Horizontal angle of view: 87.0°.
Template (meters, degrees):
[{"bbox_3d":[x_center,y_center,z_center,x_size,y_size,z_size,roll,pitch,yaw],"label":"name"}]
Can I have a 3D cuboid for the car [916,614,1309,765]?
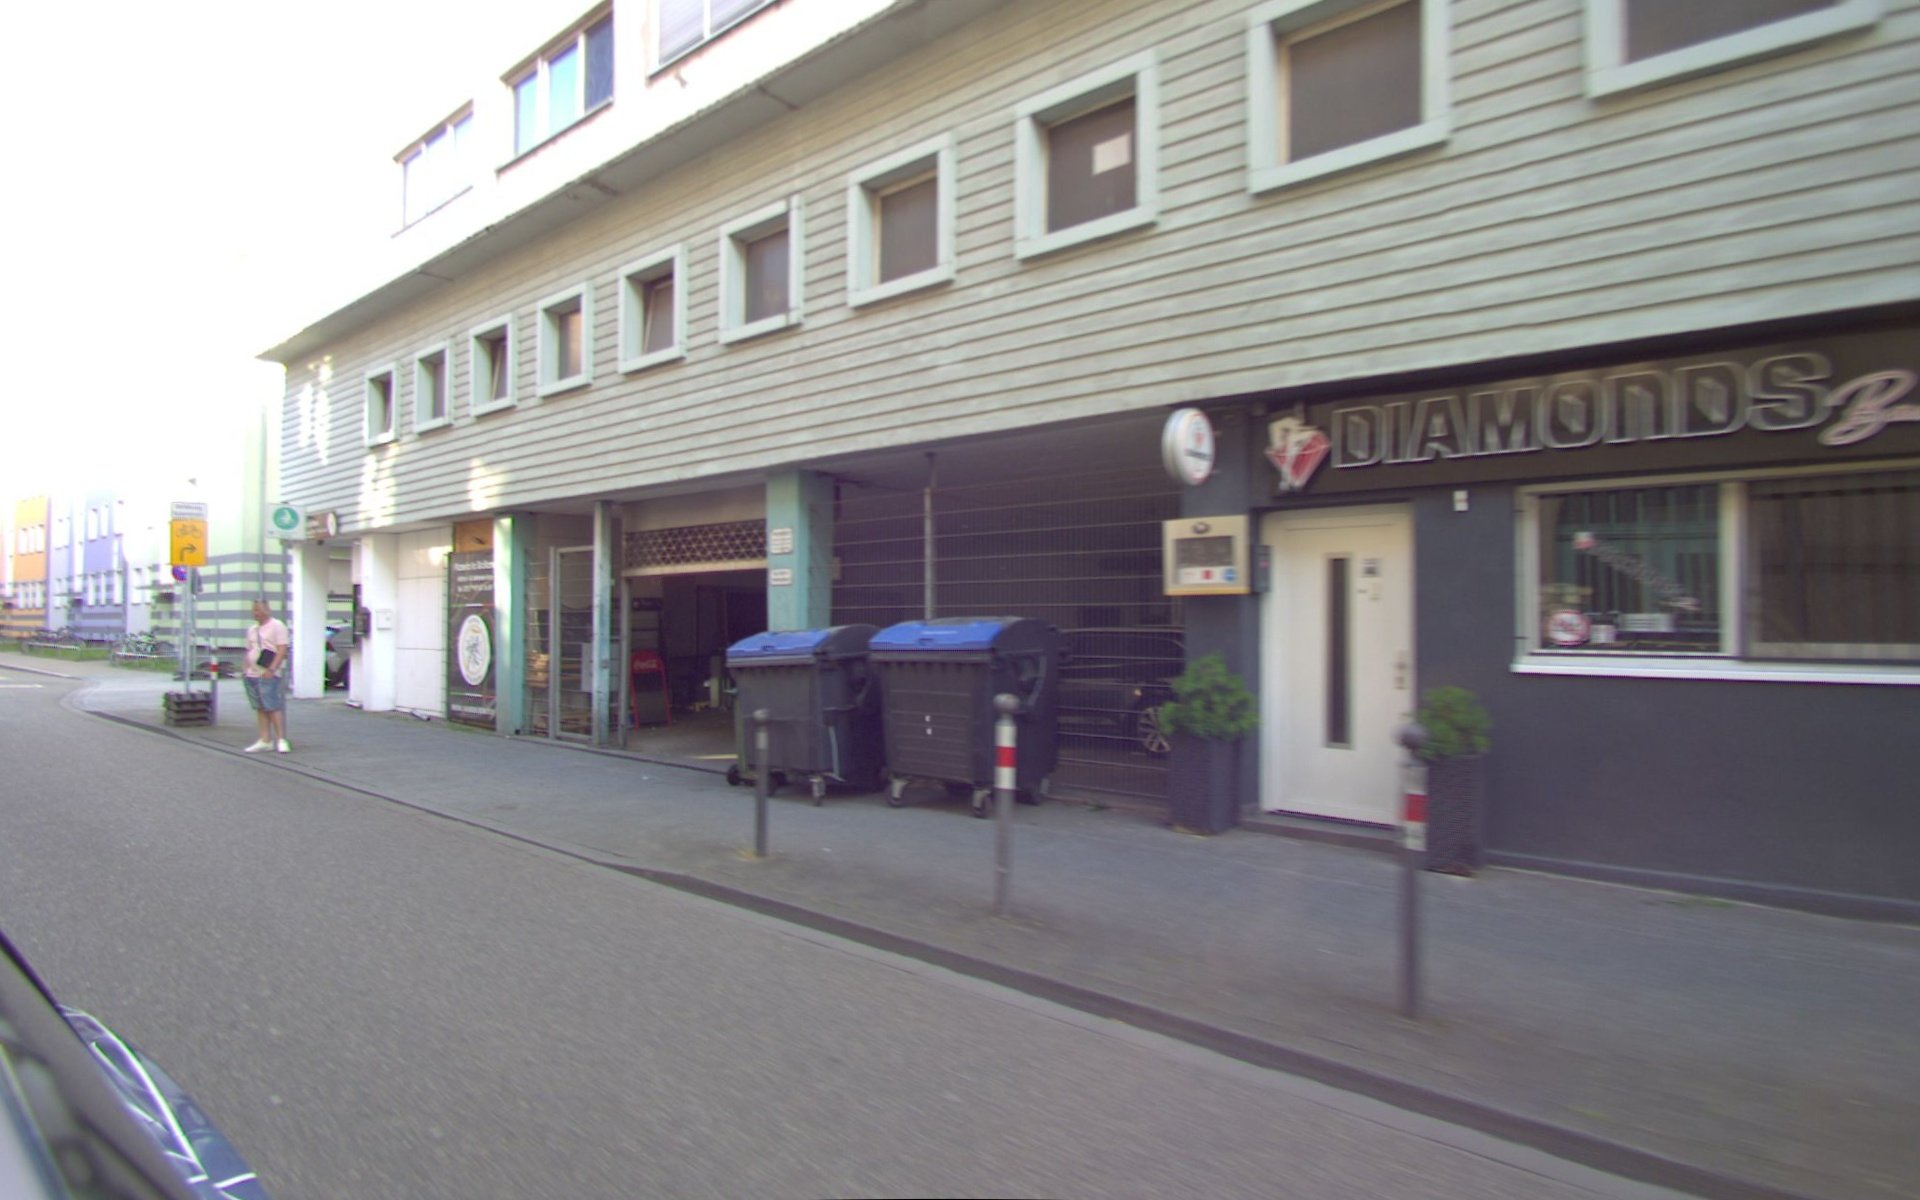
[{"bbox_3d":[1.729,0.970,12.535,4.598,1.547,1.744,-1,-2,40],"label":"car"}]

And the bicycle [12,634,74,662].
[{"bbox_3d":[-36.996,1.929,40.855,0.388,0.953,1.781,-1,2,39],"label":"bicycle"}]

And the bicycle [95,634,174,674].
[{"bbox_3d":[-26.192,1.692,32.120,0.748,1.109,1.798,-1,1,38],"label":"bicycle"}]

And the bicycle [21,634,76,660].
[{"bbox_3d":[-38.490,1.988,42.750,0.388,0.953,1.637,-1,1,39],"label":"bicycle"}]

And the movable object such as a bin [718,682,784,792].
[{"bbox_3d":[-1.916,1.239,9.282,0.467,0.949,0.389,-2,-3,40],"label":"movable object such as a bin"}]

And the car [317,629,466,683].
[{"bbox_3d":[-16.182,1.548,28.896,1.723,1.448,3.302,-1,-2,38],"label":"car"}]

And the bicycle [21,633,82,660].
[{"bbox_3d":[-37.304,1.904,41.578,0.388,0.953,1.781,-1,2,39],"label":"bicycle"}]

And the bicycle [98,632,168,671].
[{"bbox_3d":[-27.135,1.677,33.238,0.387,1.109,1.720,-2,1,32],"label":"bicycle"}]

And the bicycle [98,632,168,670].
[{"bbox_3d":[-27.397,1.683,33.556,0.387,1.109,1.720,-2,1,32],"label":"bicycle"}]

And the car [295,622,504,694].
[{"bbox_3d":[-12.918,1.286,23.526,1.690,1.531,3.894,-1,-2,38],"label":"car"}]

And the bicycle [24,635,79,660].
[{"bbox_3d":[-38.150,1.987,42.525,0.388,0.953,1.637,-1,1,39],"label":"bicycle"}]

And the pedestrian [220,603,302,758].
[{"bbox_3d":[-7.866,0.882,11.392,0.624,1.682,0.489,-1,0,27],"label":"pedestrian"}]

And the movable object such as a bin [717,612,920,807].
[{"bbox_3d":[-1.212,0.879,8.579,1.473,1.483,0.959,-3,-4,40],"label":"movable object such as a bin"}]

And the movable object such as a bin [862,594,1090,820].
[{"bbox_3d":[0.119,0.763,7.761,1.340,1.532,1.111,-3,-3,39],"label":"movable object such as a bin"}]

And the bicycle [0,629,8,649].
[{"bbox_3d":[-49.798,2.031,51.558,0.653,0.990,1.787,-1,2,35],"label":"bicycle"}]
